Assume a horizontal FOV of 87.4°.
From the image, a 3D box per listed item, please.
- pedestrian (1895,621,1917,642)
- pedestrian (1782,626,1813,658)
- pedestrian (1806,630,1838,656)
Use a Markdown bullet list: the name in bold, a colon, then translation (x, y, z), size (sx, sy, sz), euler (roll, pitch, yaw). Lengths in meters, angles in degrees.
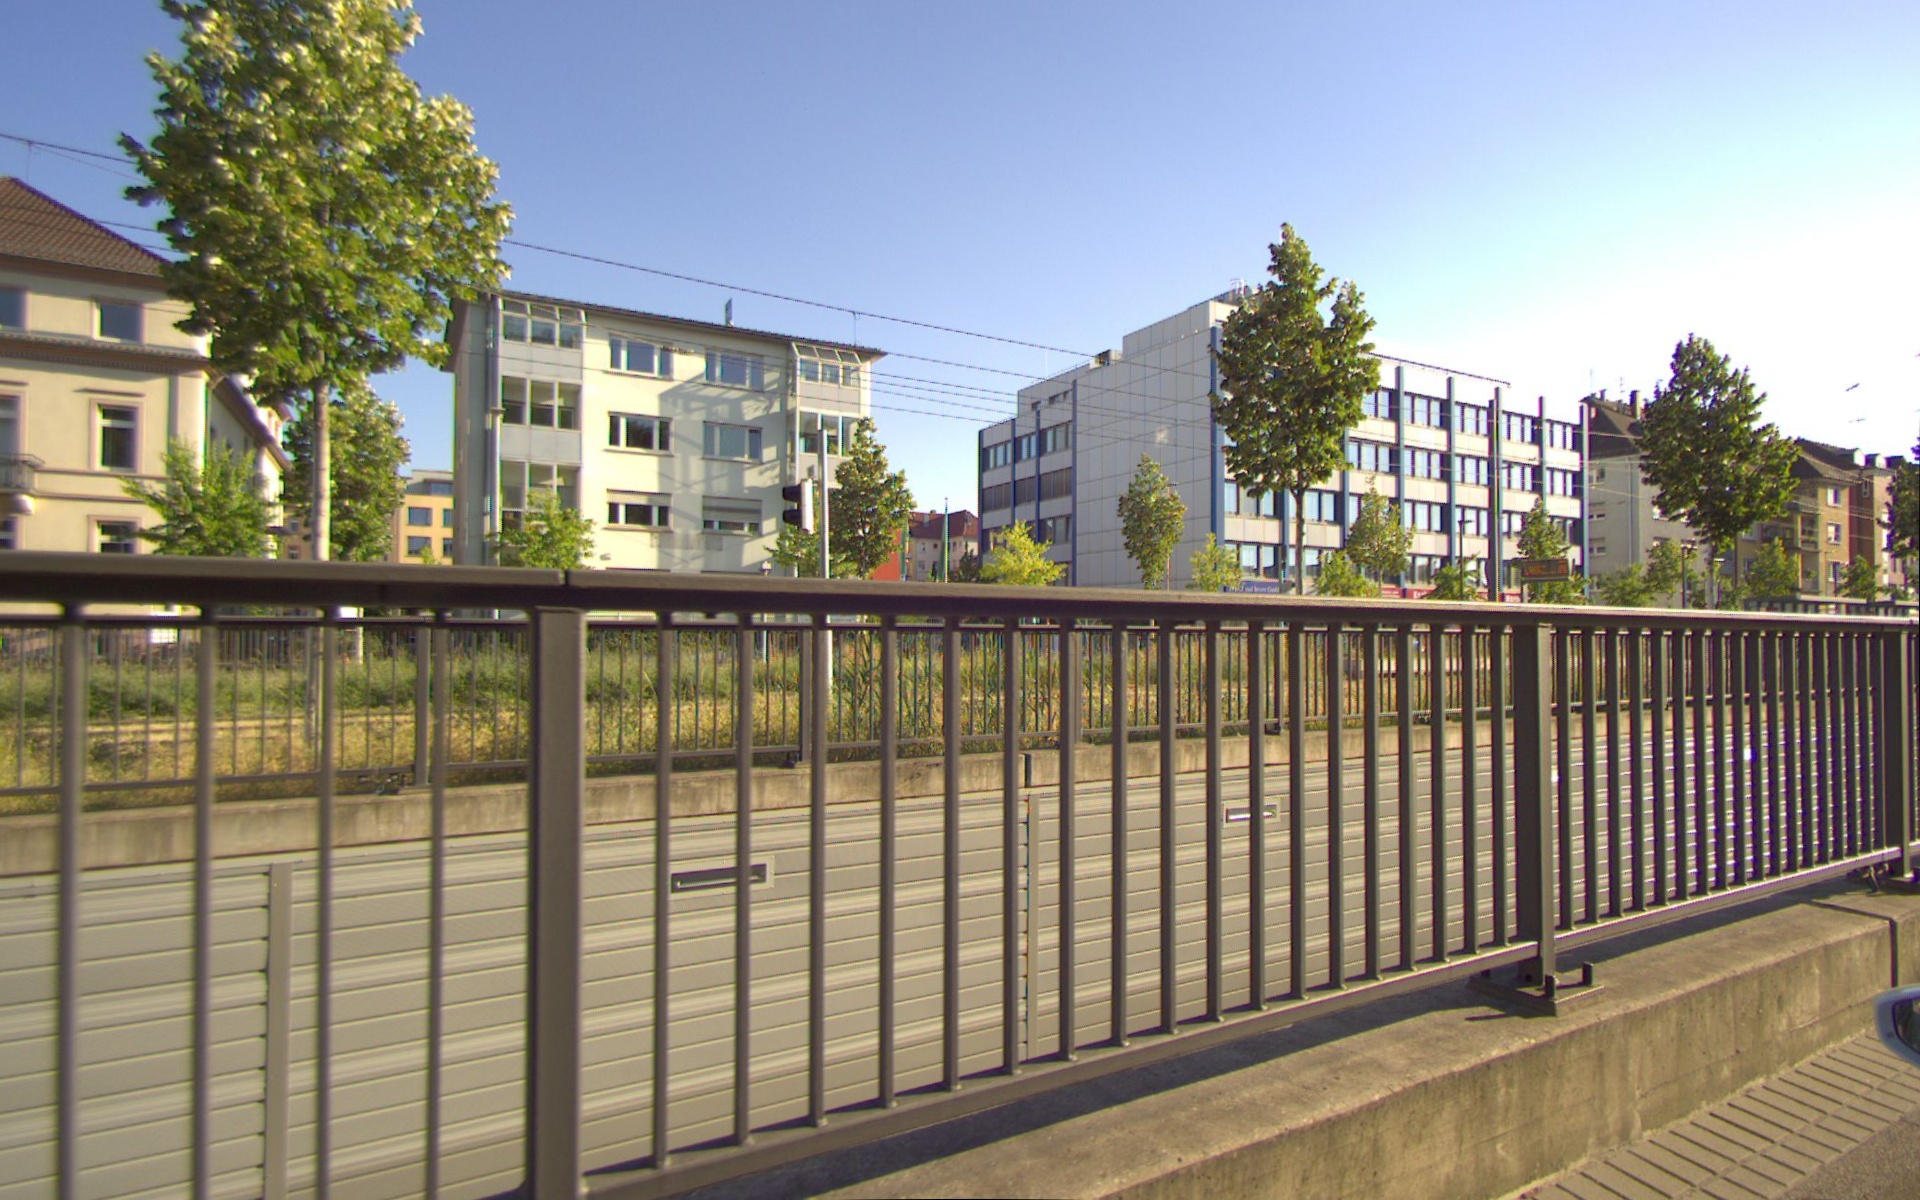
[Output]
- **pedestrian**: translation (49.082, 1.628, 52.120), size (0.785, 1.061, 0.624), euler (1, -2, -30)
- **pedestrian**: translation (38.482, 1.920, 46.158), size (0.794, 1.429, 0.834), euler (1, -2, -30)
- **pedestrian**: translation (40.686, 2.045, 47.420), size (0.755, 1.213, 0.929), euler (1, -2, -30)
